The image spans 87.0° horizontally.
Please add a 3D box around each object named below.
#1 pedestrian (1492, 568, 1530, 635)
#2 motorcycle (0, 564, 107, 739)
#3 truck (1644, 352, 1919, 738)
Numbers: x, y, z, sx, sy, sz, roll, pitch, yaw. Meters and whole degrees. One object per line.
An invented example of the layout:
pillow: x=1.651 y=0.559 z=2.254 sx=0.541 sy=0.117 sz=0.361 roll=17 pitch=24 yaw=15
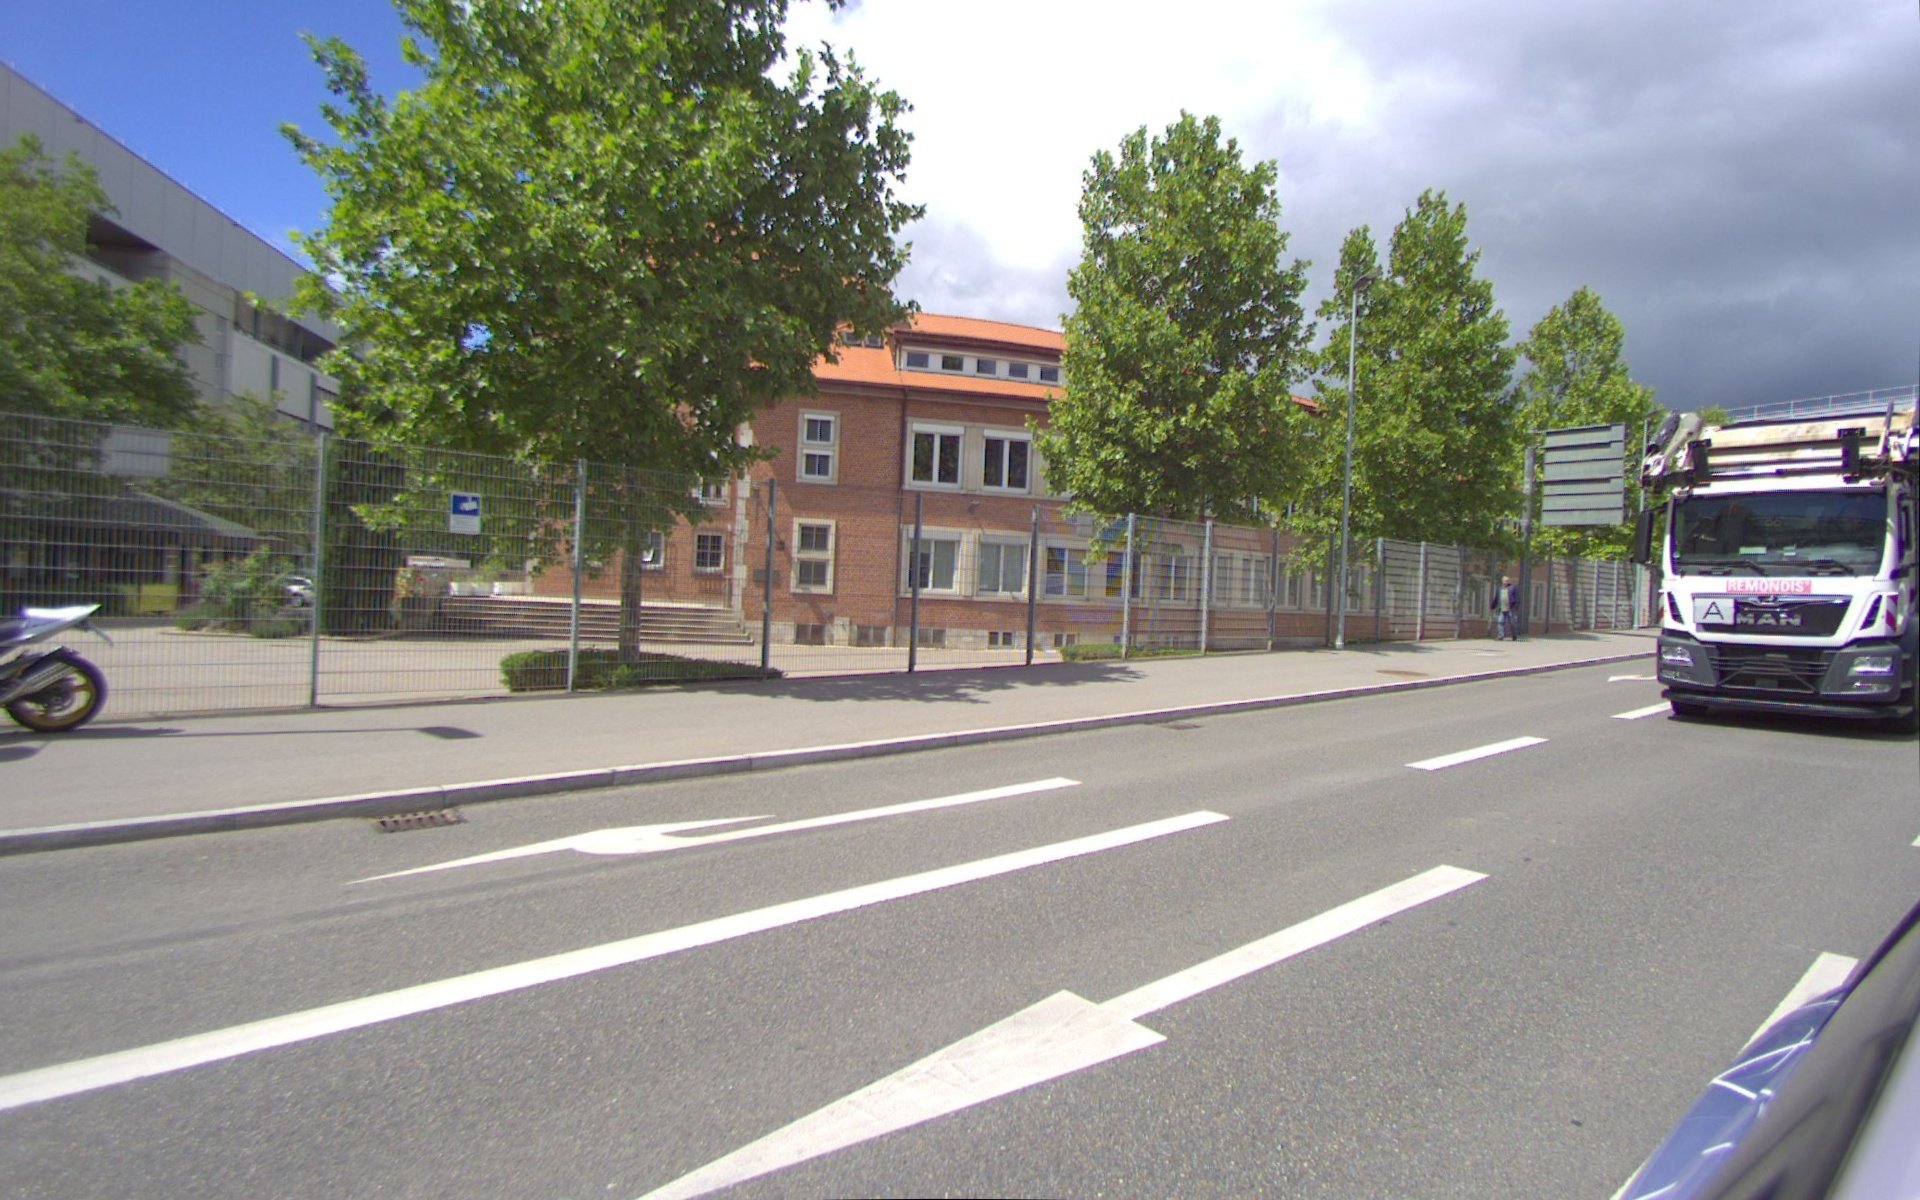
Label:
pedestrian: x=15.282 y=0.029 z=28.061 sx=0.696 sy=1.804 sz=0.648 roll=4 pitch=3 yaw=44
motorcycle: x=-7.444 y=0.369 z=7.291 sx=1.978 sy=1.238 sz=0.688 roll=-1 pitch=3 yaw=-41
truck: x=12.793 y=-0.621 z=14.611 sx=9.999 sy=3.962 sz=2.492 roll=-1 pitch=0 yaw=-42
